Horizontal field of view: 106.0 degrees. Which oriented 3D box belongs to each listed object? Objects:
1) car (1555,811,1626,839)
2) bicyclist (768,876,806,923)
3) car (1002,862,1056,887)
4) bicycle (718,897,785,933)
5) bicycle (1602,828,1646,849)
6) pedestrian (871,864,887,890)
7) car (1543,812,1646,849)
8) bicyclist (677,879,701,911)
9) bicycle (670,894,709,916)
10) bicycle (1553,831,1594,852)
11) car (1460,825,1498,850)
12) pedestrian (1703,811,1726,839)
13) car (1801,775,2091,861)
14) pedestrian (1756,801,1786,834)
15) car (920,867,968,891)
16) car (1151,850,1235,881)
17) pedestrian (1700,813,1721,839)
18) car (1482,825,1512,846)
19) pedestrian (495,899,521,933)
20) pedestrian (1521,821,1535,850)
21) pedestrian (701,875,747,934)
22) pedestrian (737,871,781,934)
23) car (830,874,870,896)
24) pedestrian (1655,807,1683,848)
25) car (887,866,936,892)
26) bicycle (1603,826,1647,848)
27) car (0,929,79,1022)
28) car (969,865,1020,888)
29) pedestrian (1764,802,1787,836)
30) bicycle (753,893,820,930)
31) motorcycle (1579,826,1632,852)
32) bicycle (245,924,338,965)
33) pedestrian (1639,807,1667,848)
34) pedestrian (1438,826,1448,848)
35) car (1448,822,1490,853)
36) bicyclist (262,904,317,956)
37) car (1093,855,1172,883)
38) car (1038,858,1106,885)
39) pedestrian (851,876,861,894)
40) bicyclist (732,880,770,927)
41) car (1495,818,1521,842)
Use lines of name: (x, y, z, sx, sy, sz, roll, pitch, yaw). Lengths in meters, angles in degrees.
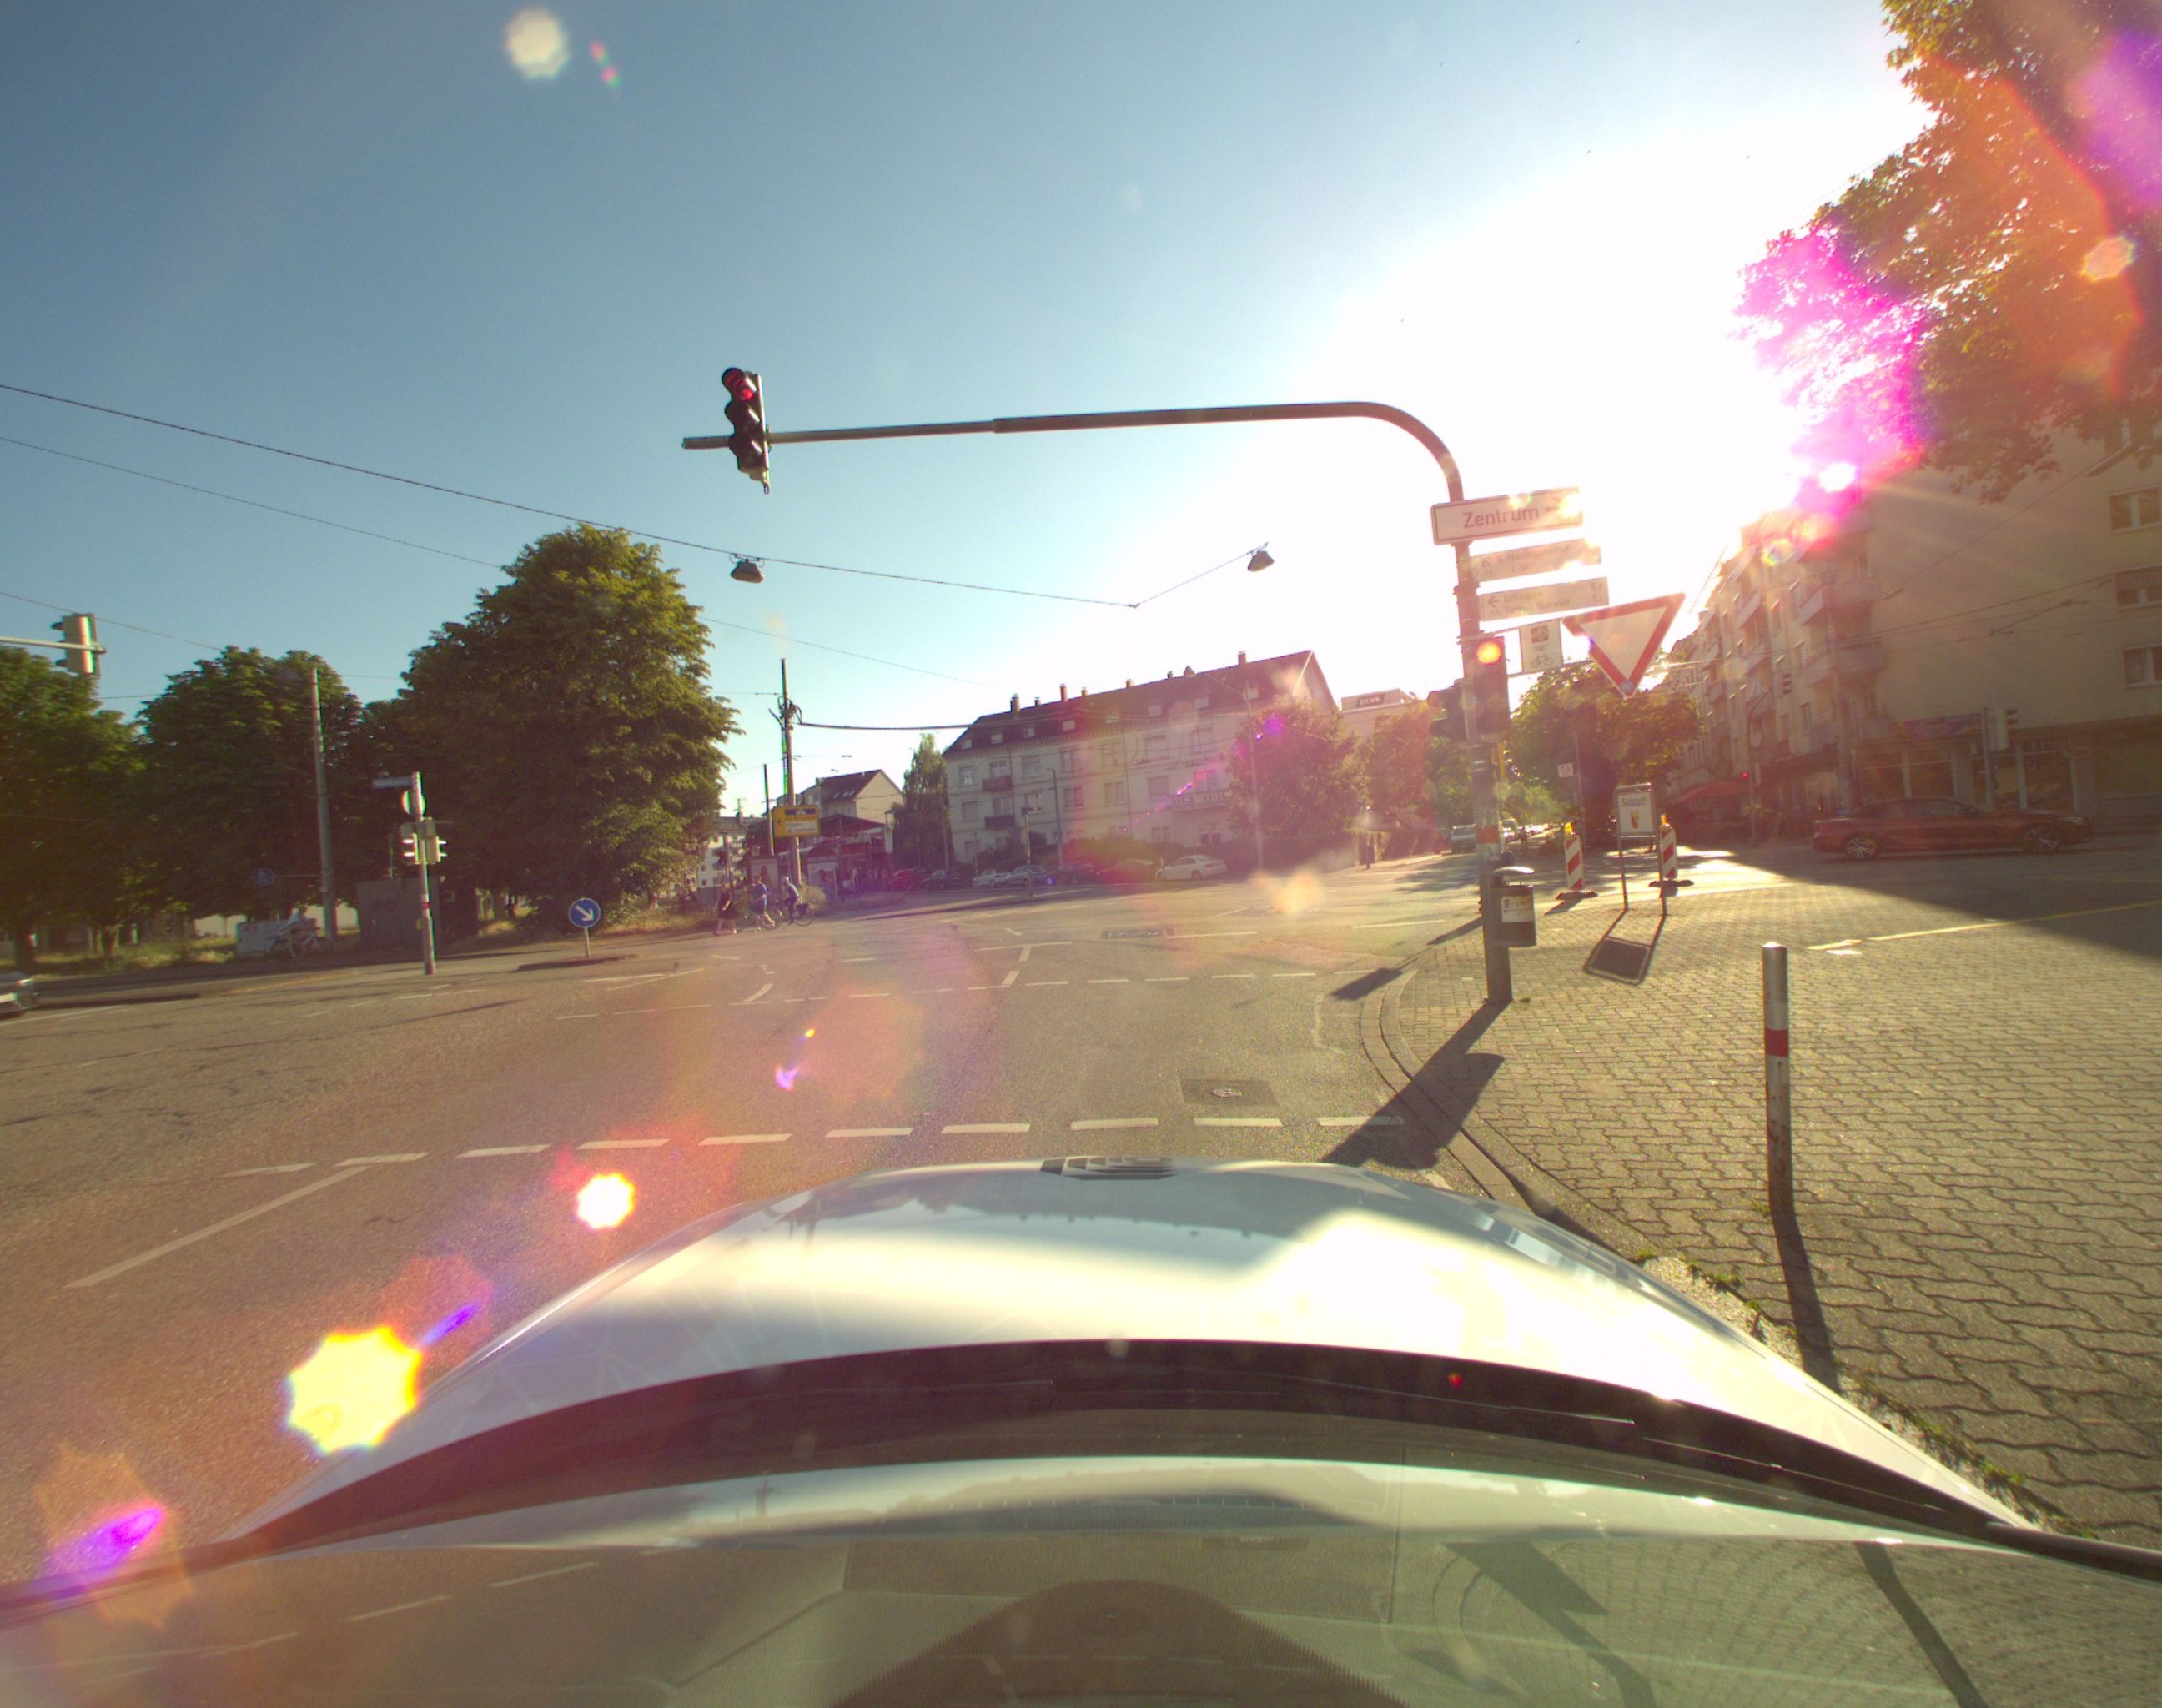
car: (44.678, -2.506, 71.615, 5.042, 1.924, 2.377, -5, -2, 28)
bicyclist: (-10.160, 1.555, 28.178, 1.034, 1.532, 0.696, -4, -1, -10)
car: (-3.748, 1.459, 58.111, 1.998, 1.447, 3.676, -7, 1, -39)
bicycle: (-11.669, 2.167, 28.894, 2.012, 1.069, 0.661, -4, -1, -9)
bicycle: (26.866, -0.769, 40.319, 1.707, 0.932, 0.565, -5, -1, 31)
pedestrian: (-16.361, 1.862, 65.982, 0.928, 2.013, 0.760, -4, -1, -34)
car: (34.249, -1.541, 54.543, 5.567, 1.924, 2.377, -5, -2, 28)
bicyclist: (-21.637, 2.271, 44.934, 0.662, 1.652, 0.892, -4, -1, 23)
bicycle: (-21.583, 2.799, 44.903, 0.656, 1.069, 2.030, -1, -1, 22)
bicycle: (24.916, -0.637, 41.195, 1.707, 0.932, 0.676, -5, -1, 31)
car: (31.688, -1.332, 64.747, 2.332, 1.795, 5.343, -5, -1, 28)
pedestrian: (33.373, -1.526, 42.905, 0.803, 1.362, 0.920, -5, -1, 36)
car: (19.644, -0.762, 18.735, 1.910, 1.564, 4.339, -3, -1, -41)
pedestrian: (34.225, -1.798, 40.390, 0.804, 1.544, 0.919, -5, -1, 25)
car: (-11.411, 2.076, 67.624, 1.855, 1.667, 4.319, -7, 1, -39)
car: (6.267, 0.675, 46.121, 1.941, 1.376, 4.443, -7, 1, -40)
pedestrian: (34.052, -1.522, 44.059, 0.803, 1.362, 0.920, -5, -1, 36)
car: (39.712, -1.789, 77.667, 2.332, 1.795, 5.343, -5, -1, 28)
pedestrian: (-33.721, 3.633, 47.911, 0.935, 1.872, 0.690, -4, -1, 16)
pedestrian: (29.181, -1.210, 53.130, 0.655, 1.839, 0.687, -4, -1, 30)
pedestrian: (-11.263, 1.585, 25.747, 0.910, 1.747, 1.066, -4, -1, -3)
pedestrian: (-10.538, 1.572, 26.712, 0.910, 1.925, 1.066, -4, -1, -3)
car: (-23.850, 3.196, 83.942, 2.067, 1.961, 5.091, -7, 1, -39)
pedestrian: (25.832, -1.167, 35.777, 0.799, 1.750, 0.685, -4, -1, -39)
car: (-15.208, 2.234, 72.758, 2.067, 1.961, 5.091, -7, 1, -39)
bicycle: (26.467, -0.816, 39.655, 1.707, 0.932, 0.565, -5, -1, 31)
car: (-21.396, 2.367, 14.626, 4.415, 1.567, 2.057, -4, 0, 5)
car: (-6.591, 1.730, 61.672, 1.855, 1.447, 3.912, -7, 1, -39)
pedestrian: (33.856, -1.704, 39.683, 0.612, 1.591, 0.480, -4, -1, 15)
bicycle: (-10.159, 1.973, 28.168, 2.013, 1.069, 0.661, -4, -1, -10)
motorcycle: (24.965, -0.715, 38.801, 1.933, 1.109, 0.842, -5, -1, 26)
bicycle: (-26.766, 3.066, 27.637, 2.194, 1.142, 0.698, -4, -1, -9)
pedestrian: (25.833, -1.187, 36.762, 0.799, 1.750, 0.710, -4, -1, -38)
pedestrian: (28.698, -1.365, 64.521, 0.573, 1.730, 0.612, -4, -1, 26)
car: (28.384, -1.230, 59.442, 2.332, 2.013, 5.343, -5, -1, 28)
bicyclist: (-26.851, 2.560, 27.645, 1.038, 1.629, 0.711, -4, -1, -8)
car: (3.120, 0.945, 50.192, 1.999, 1.376, 4.647, -7, 1, -44)
car: (-0.673, 1.198, 54.792, 1.998, 1.447, 4.650, -7, 1, -39)
pedestrian: (-18.536, 2.551, 67.032, 0.569, 1.500, 0.672, -4, -1, -27)
bicyclist: (-11.694, 1.747, 28.878, 1.033, 1.532, 0.659, -4, -1, -8)
car: (47.941, -2.693, 91.342, 2.332, 2.514, 5.343, -5, -1, 28)
